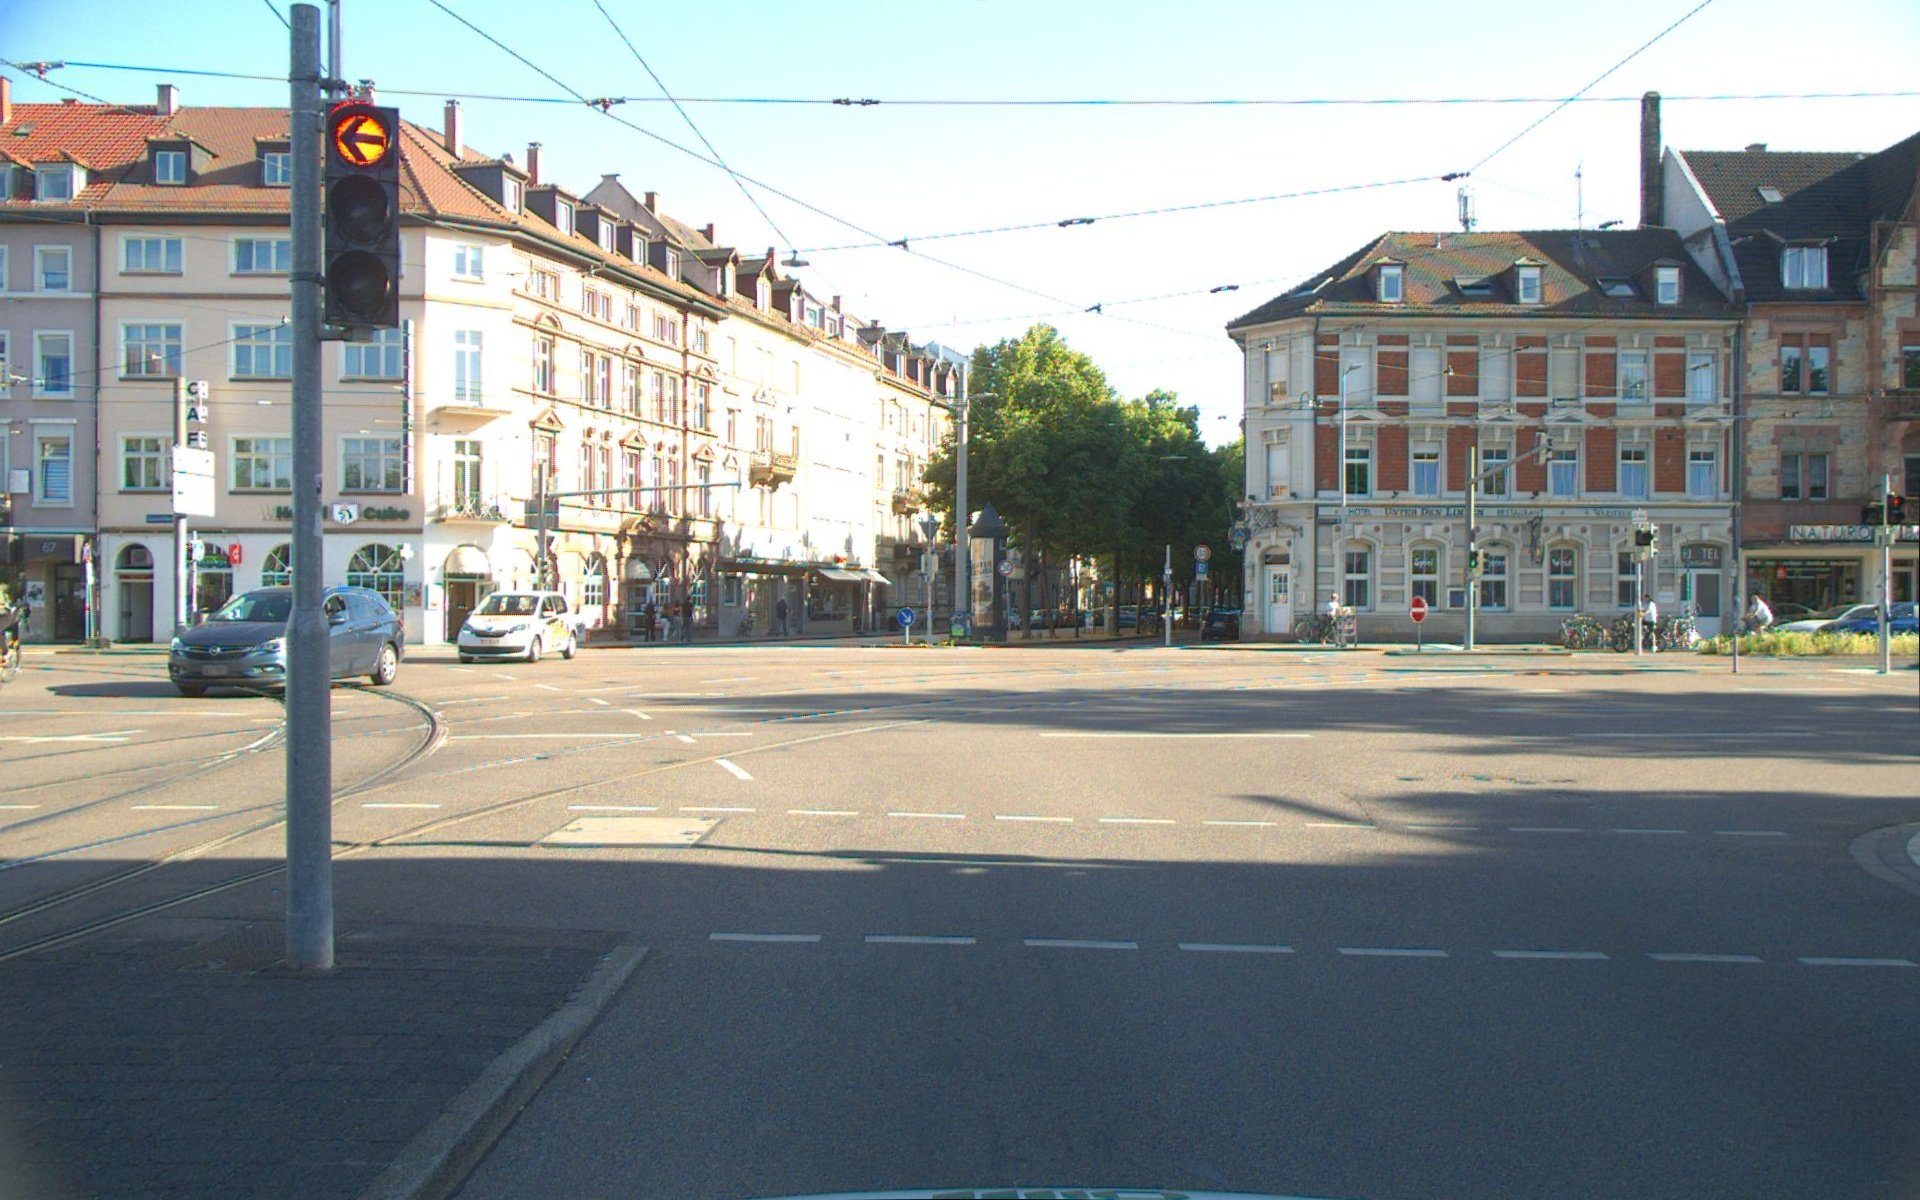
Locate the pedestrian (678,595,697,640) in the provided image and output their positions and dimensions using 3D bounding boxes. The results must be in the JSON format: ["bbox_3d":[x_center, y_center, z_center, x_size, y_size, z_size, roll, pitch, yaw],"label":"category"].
[{"bbox_3d":[-11.347,0.731,68.880,0.567,1.868,0.633,0,0,15],"label":"pedestrian"}]

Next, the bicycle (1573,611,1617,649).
[{"bbox_3d":[20.518,0.959,53.485,0.663,1.211,1.967,0,0,0],"label":"bicycle"}]

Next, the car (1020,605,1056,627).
[{"bbox_3d":[5.788,1.169,122.662,1.951,1.523,4.037,0,0,13],"label":"car"}]

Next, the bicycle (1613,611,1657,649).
[{"bbox_3d":[21.819,0.961,53.497,0.663,1.211,1.967,0,0,0],"label":"bicycle"}]

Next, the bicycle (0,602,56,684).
[{"bbox_3d":[-14.300,0.633,24.619,0.475,1.186,1.959,0,0,5],"label":"bicycle"}]

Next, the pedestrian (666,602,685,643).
[{"bbox_3d":[-11.653,0.924,67.719,0.539,1.670,0.633,0,0,14],"label":"pedestrian"}]

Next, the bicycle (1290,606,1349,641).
[{"bbox_3d":[12.455,0.803,57.351,1.919,1.211,0.546,0,0,4],"label":"bicycle"}]

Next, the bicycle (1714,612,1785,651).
[{"bbox_3d":[24.694,0.991,51.730,1.919,1.211,0.602,0,0,4],"label":"bicycle"}]

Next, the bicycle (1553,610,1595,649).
[{"bbox_3d":[19.829,0.931,53.448,0.663,1.211,1.967,0,0,0],"label":"bicycle"}]

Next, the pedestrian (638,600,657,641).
[{"bbox_3d":[-12.805,0.831,67.827,0.613,1.670,0.538,0,0,14],"label":"pedestrian"}]

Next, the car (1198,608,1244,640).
[{"bbox_3d":[13.069,1.166,82.594,1.951,1.523,4.037,0,0,13],"label":"car"}]

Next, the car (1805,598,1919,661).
[{"bbox_3d":[25.913,0.799,45.948,3.906,1.697,1.954,0,0,-2],"label":"car"}]

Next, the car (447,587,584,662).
[{"bbox_3d":[-9.396,0.487,35.251,1.681,1.523,3.586,0,0,5],"label":"car"}]

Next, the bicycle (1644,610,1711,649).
[{"bbox_3d":[23.040,0.935,53.118,1.926,1.211,0.677,0,0,-13],"label":"bicycle"}]

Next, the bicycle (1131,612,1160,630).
[{"bbox_3d":[11.158,1.270,99.398,0.577,1.086,1.924,0,0,-37],"label":"bicycle"}]

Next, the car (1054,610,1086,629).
[{"bbox_3d":[9.106,1.614,136.643,1.951,1.523,4.037,0,0,13],"label":"car"}]

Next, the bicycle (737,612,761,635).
[{"bbox_3d":[-10.136,1.115,79.377,0.484,1.086,1.771,0,0,15],"label":"bicycle"}]

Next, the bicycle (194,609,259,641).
[{"bbox_3d":[-24.902,0.852,56.158,1.906,1.086,0.582,0,0,-8],"label":"bicycle"}]

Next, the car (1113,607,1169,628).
[{"bbox_3d":[14.062,1.326,128.496,3.910,1.572,1.998,0,0,28],"label":"car"}]

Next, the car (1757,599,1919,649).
[{"bbox_3d":[25.964,0.710,48.944,3.906,1.437,1.845,0,0,-2],"label":"car"}]

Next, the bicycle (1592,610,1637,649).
[{"bbox_3d":[21.157,0.941,53.495,0.663,1.211,1.967,0,0,0],"label":"bicycle"}]

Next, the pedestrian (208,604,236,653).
[{"bbox_3d":[-23.979,0.919,53.740,0.645,1.551,0.694,0,0,-6],"label":"pedestrian"}]

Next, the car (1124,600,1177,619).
[{"bbox_3d":[15.515,0.758,134.625,3.910,1.572,1.998,0,0,28],"label":"car"}]

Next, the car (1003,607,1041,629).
[{"bbox_3d":[4.443,1.264,117.405,1.951,1.523,4.037,0,0,13],"label":"car"}]

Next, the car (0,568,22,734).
[{"bbox_3d":[-9.804,0.472,13.366,1.952,1.523,4.347,0,0,0],"label":"car"}]

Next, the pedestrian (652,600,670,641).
[{"bbox_3d":[-12.252,0.843,67.764,0.539,1.670,0.538,0,0,14],"label":"pedestrian"}]

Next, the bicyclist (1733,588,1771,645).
[{"bbox_3d":[24.760,0.513,51.716,0.884,1.795,0.602,0,0,4],"label":"bicyclist"}]

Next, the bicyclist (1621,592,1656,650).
[{"bbox_3d":[21.006,0.648,51.236,0.854,1.795,0.602,0,0,2],"label":"bicyclist"}]

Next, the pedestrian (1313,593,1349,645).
[{"bbox_3d":[12.382,0.627,55.217,0.712,1.699,0.925,0,0,-42],"label":"pedestrian"}]

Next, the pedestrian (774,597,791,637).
[{"bbox_3d":[-8.683,0.827,80.899,0.667,1.942,0.633,0,0,15],"label":"pedestrian"}]

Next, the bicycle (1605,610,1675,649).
[{"bbox_3d":[21.059,0.915,51.236,1.920,1.211,0.602,0,0,2],"label":"bicycle"}]

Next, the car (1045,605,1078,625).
[{"bbox_3d":[8.131,1.185,131.868,1.951,1.523,4.037,0,0,13],"label":"car"}]

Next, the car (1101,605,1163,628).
[{"bbox_3d":[12.050,1.180,115.874,3.910,1.572,1.998,0,0,28],"label":"car"}]

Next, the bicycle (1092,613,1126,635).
[{"bbox_3d":[7.463,1.184,82.850,0.577,1.086,1.924,0,0,-37],"label":"bicycle"}]

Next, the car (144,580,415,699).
[{"bbox_3d":[-9.477,0.503,23.479,1.736,1.523,4.575,0,0,3],"label":"car"}]

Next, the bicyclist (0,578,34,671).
[{"bbox_3d":[-14.295,0.352,24.504,0.590,1.363,0.898,0,0,6],"label":"bicyclist"}]

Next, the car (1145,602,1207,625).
[{"bbox_3d":[15.271,0.955,116.756,3.913,1.572,1.996,0,0,30],"label":"car"}]

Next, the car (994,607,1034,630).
[{"bbox_3d":[3.697,1.232,112.908,1.951,1.523,4.037,0,0,13],"label":"car"}]
